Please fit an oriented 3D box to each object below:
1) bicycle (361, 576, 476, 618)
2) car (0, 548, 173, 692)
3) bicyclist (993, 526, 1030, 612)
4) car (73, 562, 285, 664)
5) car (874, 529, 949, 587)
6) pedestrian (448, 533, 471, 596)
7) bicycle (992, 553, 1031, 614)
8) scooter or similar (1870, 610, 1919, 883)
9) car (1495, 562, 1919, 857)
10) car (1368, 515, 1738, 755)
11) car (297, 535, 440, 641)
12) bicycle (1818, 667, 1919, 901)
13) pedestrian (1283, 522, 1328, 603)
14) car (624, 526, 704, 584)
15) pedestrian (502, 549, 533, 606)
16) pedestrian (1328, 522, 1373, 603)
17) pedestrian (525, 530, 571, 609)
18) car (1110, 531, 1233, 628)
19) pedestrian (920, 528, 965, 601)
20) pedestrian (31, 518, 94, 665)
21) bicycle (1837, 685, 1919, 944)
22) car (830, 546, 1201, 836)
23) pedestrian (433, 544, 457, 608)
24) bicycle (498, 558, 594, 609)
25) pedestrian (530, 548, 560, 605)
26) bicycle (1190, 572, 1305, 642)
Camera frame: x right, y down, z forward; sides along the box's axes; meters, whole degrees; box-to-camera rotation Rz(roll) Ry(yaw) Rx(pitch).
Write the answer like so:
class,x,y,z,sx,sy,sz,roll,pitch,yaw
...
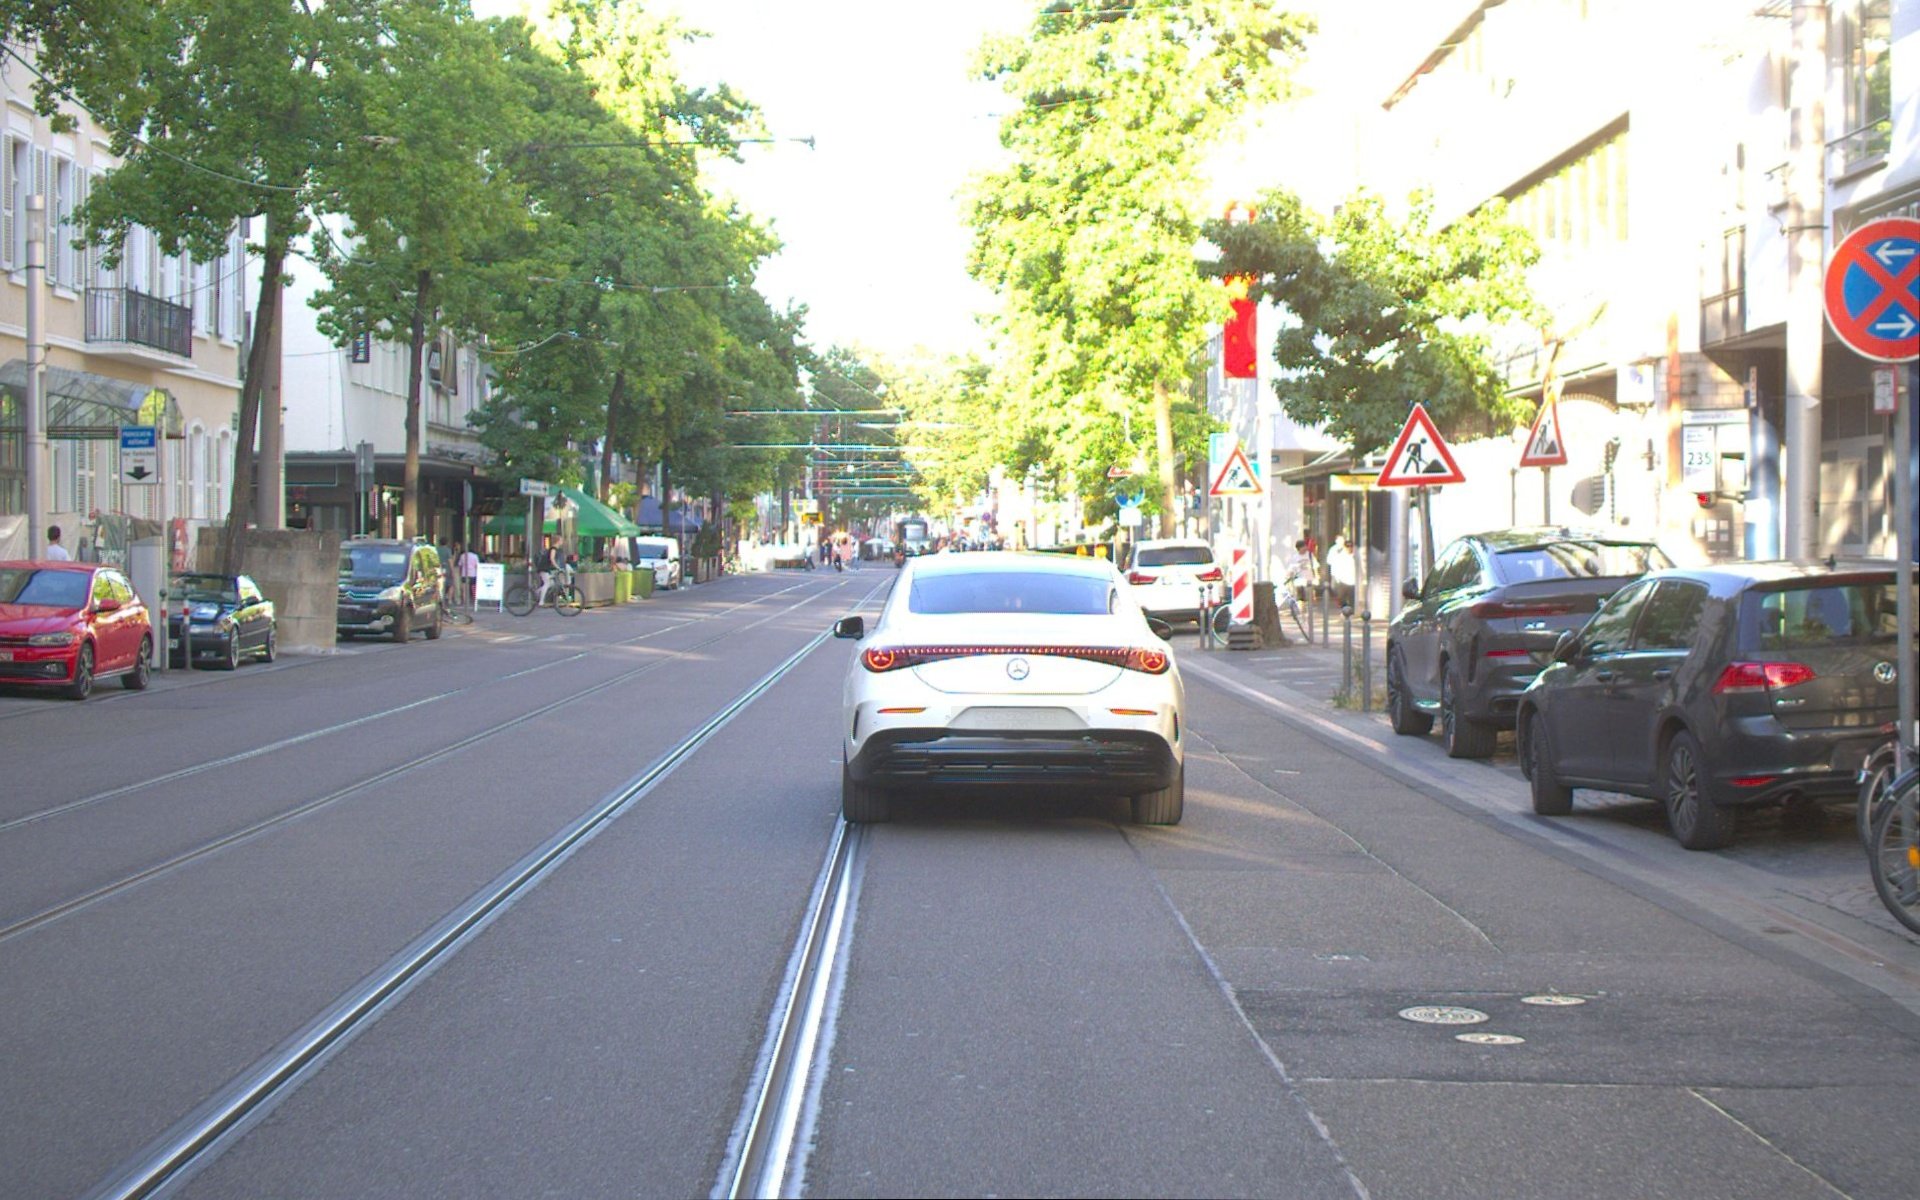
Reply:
class,x,y,z,sx,sy,sz,roll,pitch,yaw
bicycle,-10.974,-0.072,69.682,2.255,0.827,0.716,0,1,22
car,-10.061,0.183,38.037,1.688,1.494,4.234,0,1,1
bicyclist,1.018,-0.617,68.295,0.724,1.697,0.811,0,0,0
car,-10.508,0.147,46.527,1.993,1.287,4.000,0,1,-1
car,-2.681,-2.298,190.379,4.038,3.103,8.431,0,0,-1
pedestrian,-13.073,-0.937,89.749,0.517,1.647,0.650,0,1,-1
bicycle,1.020,-0.324,68.238,0.740,1.184,2.160,0,0,0
scooter or similar,4.948,0.648,15.486,1.538,1.192,0.675,0,1,4
car,4.397,0.518,18.988,1.837,1.431,4.001,0,1,-7
car,4.510,0.204,26.902,1.993,1.707,4.867,0,1,-1
car,-10.195,-0.228,59.435,1.553,1.789,3.166,0,1,8
bicycle,4.465,0.774,14.574,1.538,0.961,0.496,0,1,4
pedestrian,7.577,-0.823,75.463,0.799,1.768,0.683,0,1,-12
car,-10.510,-1.603,122.213,1.994,2.007,3.999,0,1,8
pedestrian,-11.497,-0.590,89.303,0.569,1.459,0.649,0,1,19
pedestrian,8.536,-0.826,75.137,0.799,1.768,0.683,0,1,-12
pedestrian,-9.354,-0.692,77.977,0.919,1.768,0.874,0,1,-15
car,3.868,-0.408,63.456,1.993,1.722,4.241,0,1,0
pedestrian,-0.423,-0.863,83.204,0.919,1.768,0.874,0,1,-15
pedestrian,-12.244,-0.118,46.928,0.707,1.997,0.675,0,1,-4
bicycle,4.375,0.810,12.978,2.038,0.961,0.282,0,1,5
car,0.209,0.430,19.419,1.868,1.464,4.043,0,1,-2
pedestrian,-12.847,-0.601,85.739,0.517,1.610,0.650,0,1,-1
bicycle,-9.389,-0.373,77.958,2.047,1.132,0.874,0,1,-15
pedestrian,-10.965,-0.621,90.803,0.517,1.473,0.650,-3,0,-28
bicycle,4.382,0.102,52.482,1.723,1.058,0.581,0,1,3
